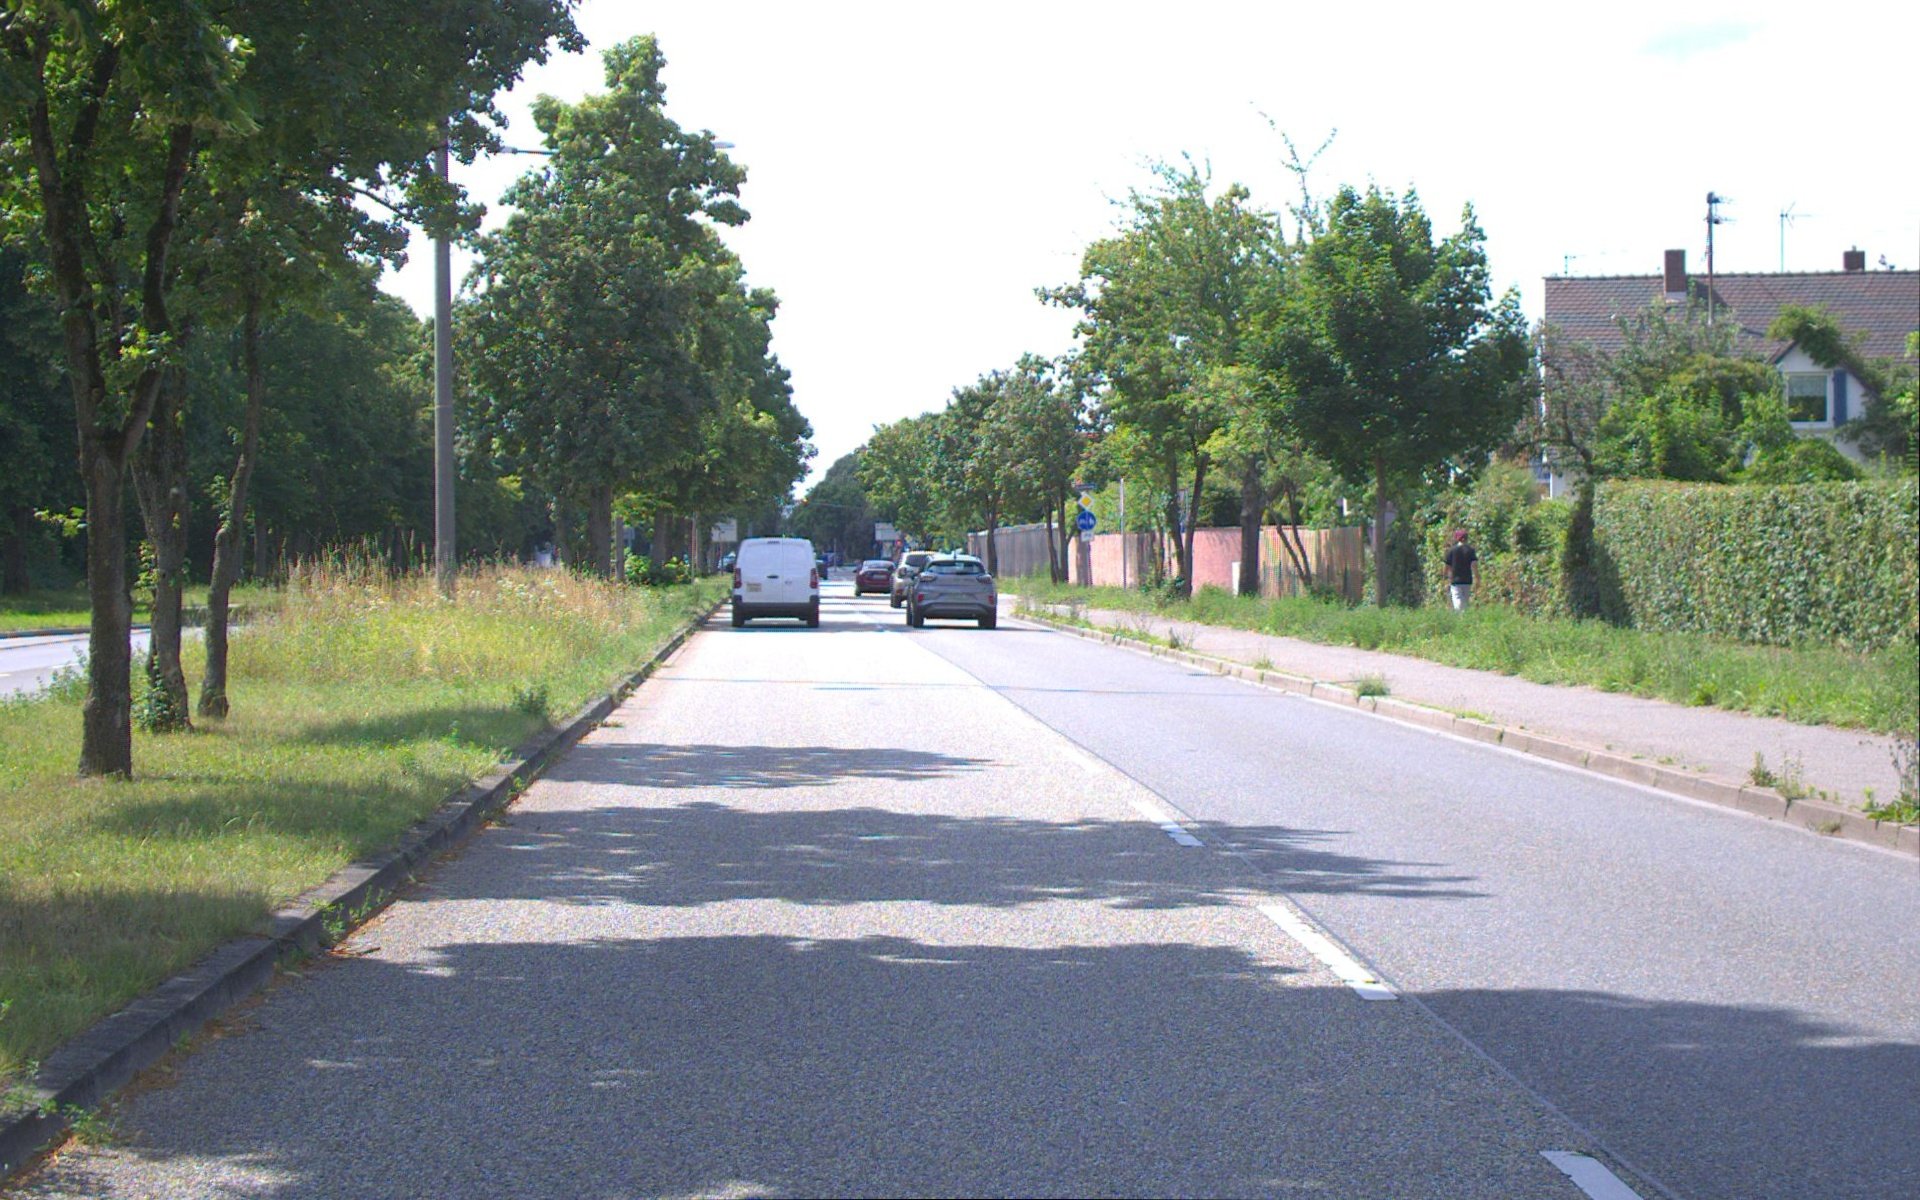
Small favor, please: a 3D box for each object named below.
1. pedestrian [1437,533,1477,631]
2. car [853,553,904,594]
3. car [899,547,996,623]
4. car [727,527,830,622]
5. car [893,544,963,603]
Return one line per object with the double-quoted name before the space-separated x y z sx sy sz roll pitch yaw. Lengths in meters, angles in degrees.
"pedestrian" 8.502 -0.310 58.822 0.560 1.671 0.634 0 1 -3
"car" -3.247 -1.057 136.408 1.880 1.581 4.001 0 1 -3
"car" -0.299 -0.331 73.046 1.875 1.583 4.185 0 1 -3
"car" -3.763 -0.550 71.388 2.065 1.905 4.647 0 1 -3
"car" -0.935 -0.760 98.621 1.875 1.646 4.000 0 1 -3
